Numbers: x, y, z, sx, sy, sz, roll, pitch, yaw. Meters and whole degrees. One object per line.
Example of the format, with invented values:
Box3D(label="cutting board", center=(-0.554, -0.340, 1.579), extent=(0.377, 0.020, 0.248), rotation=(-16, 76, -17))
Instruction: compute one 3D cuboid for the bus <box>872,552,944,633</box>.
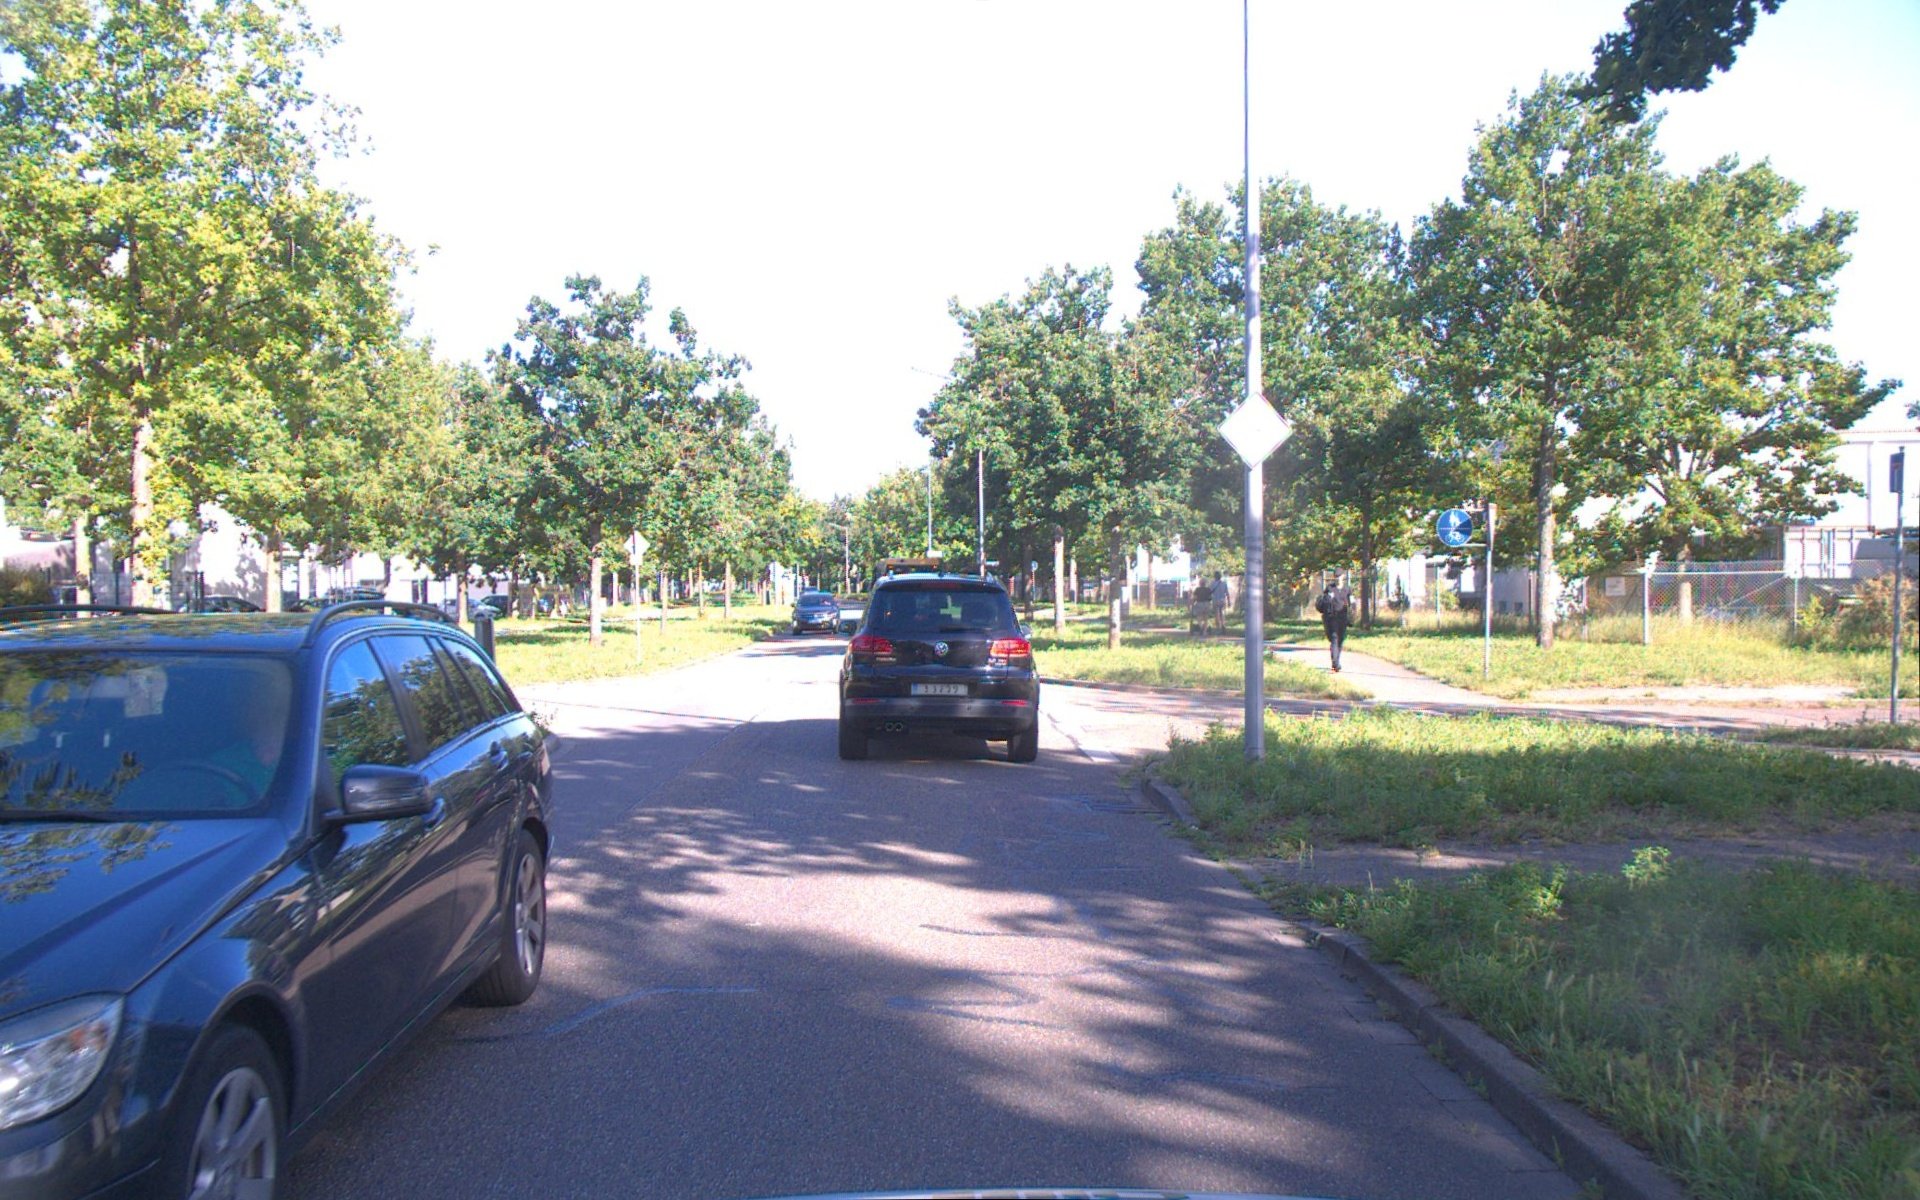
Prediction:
Box3D(label="bus", center=(-2.589, -0.388, 78.675), extent=(2.711, 3.517, 11.198), rotation=(-1, 1, -6))

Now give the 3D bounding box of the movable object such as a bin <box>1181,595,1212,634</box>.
Box3D(label="movable object such as a bin", center=(6.871, 0.412, 48.133), extent=(0.711, 1.100, 0.867), rotation=(-2, 0, -3))

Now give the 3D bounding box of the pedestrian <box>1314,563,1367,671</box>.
Box3D(label="pedestrian", center=(6.759, 0.290, 29.378), extent=(0.711, 1.843, 0.867), rotation=(-1, 3, -3))

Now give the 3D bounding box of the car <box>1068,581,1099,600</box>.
Box3D(label="car", center=(12.150, -0.963, 163.468), extent=(2.143, 1.774, 4.634), rotation=(-1, 1, -8))

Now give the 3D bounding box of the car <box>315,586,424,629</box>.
Box3D(label="car", center=(-29.853, 0.368, 83.651), extent=(4.822, 2.049, 1.967), rotation=(-1, 1, -45))

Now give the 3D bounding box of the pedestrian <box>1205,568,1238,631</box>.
Box3D(label="pedestrian", center=(7.665, -0.025, 48.464), extent=(0.711, 1.785, 0.867), rotation=(-3, 0, -3))

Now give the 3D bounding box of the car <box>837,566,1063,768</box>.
Box3D(label="car", center=(-0.179, 0.544, 16.216), extent=(1.897, 1.685, 4.425), rotation=(1, 1, -3))

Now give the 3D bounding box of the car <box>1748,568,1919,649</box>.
Box3D(label="car", center=(19.599, 0.168, 37.178), extent=(1.965, 1.693, 3.595), rotation=(-1, 0, -2))

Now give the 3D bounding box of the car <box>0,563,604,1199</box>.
Box3D(label="car", center=(-2.311, 0.724, 4.768), extent=(1.730, 1.555, 4.493), rotation=(-2, 1, -3))

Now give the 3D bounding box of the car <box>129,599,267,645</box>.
Box3D(label="car", center=(-26.200, 0.738, 56.948), extent=(1.771, 1.474, 3.972), rotation=(-1, 1, 44))

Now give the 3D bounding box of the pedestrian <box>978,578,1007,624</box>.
Box3D(label="pedestrian", center=(1.237, 0.030, 62.309), extent=(0.999, 1.680, 1.099), rotation=(-1, 0, -3))

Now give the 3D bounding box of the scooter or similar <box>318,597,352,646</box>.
Box3D(label="scooter or similar", center=(-16.693, 0.563, 44.196), extent=(0.387, 1.301, 1.440), rotation=(-1, 0, -2))

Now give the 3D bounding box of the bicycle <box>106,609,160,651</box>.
Box3D(label="bicycle", center=(-23.030, 0.814, 46.072), extent=(0.626, 1.106, 1.890), rotation=(-1, 0, -3))

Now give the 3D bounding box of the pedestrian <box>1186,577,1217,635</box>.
Box3D(label="pedestrian", center=(6.894, 0.169, 47.292), extent=(0.711, 1.631, 0.867), rotation=(-1, 0, -3))

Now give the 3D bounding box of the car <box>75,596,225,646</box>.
Box3D(label="car", center=(-26.076, 0.651, 53.307), extent=(1.767, 1.474, 3.979), rotation=(-1, 0, 40))

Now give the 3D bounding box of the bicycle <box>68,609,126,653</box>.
Box3D(label="bicycle", center=(-23.274, 0.825, 44.652), extent=(0.626, 1.106, 1.890), rotation=(-1, 0, -3))

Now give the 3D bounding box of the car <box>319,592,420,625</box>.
Box3D(label="car", center=(-34.375, 0.470, 96.318), extent=(5.191, 1.849, 2.146), rotation=(-1, 0, 12))

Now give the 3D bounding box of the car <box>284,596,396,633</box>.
Box3D(label="car", center=(-25.917, 0.598, 69.191), extent=(3.924, 1.426, 1.967), rotation=(-1, 1, -44))

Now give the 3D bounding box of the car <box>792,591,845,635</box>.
Box3D(label="car", center=(-5.416, 0.471, 63.696), extent=(1.768, 1.563, 4.493), rotation=(-2, 1, -3))

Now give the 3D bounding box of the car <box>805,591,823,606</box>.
Box3D(label="car", center=(-15.510, -0.138, 175.582), extent=(1.709, 1.490, 4.424), rotation=(-1, 1, -3))

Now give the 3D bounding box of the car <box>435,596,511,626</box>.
Box3D(label="car", center=(-27.945, 0.630, 94.966), extent=(3.662, 1.646, 1.965), rotation=(-1, 0, 12))

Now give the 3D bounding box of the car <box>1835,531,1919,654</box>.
Box3D(label="car", center=(22.140, -0.184, 37.260), extent=(2.117, 2.689, 4.849), rotation=(-1, 0, -2))

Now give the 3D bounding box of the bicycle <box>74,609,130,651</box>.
Box3D(label="bicycle", center=(-24.018, 0.826, 46.330), extent=(0.626, 1.106, 1.890), rotation=(-1, 0, -3))

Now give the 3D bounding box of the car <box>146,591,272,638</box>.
Box3D(label="car", center=(-27.078, 0.499, 59.660), extent=(3.948, 1.537, 1.782), rotation=(-1, 2, -32))
